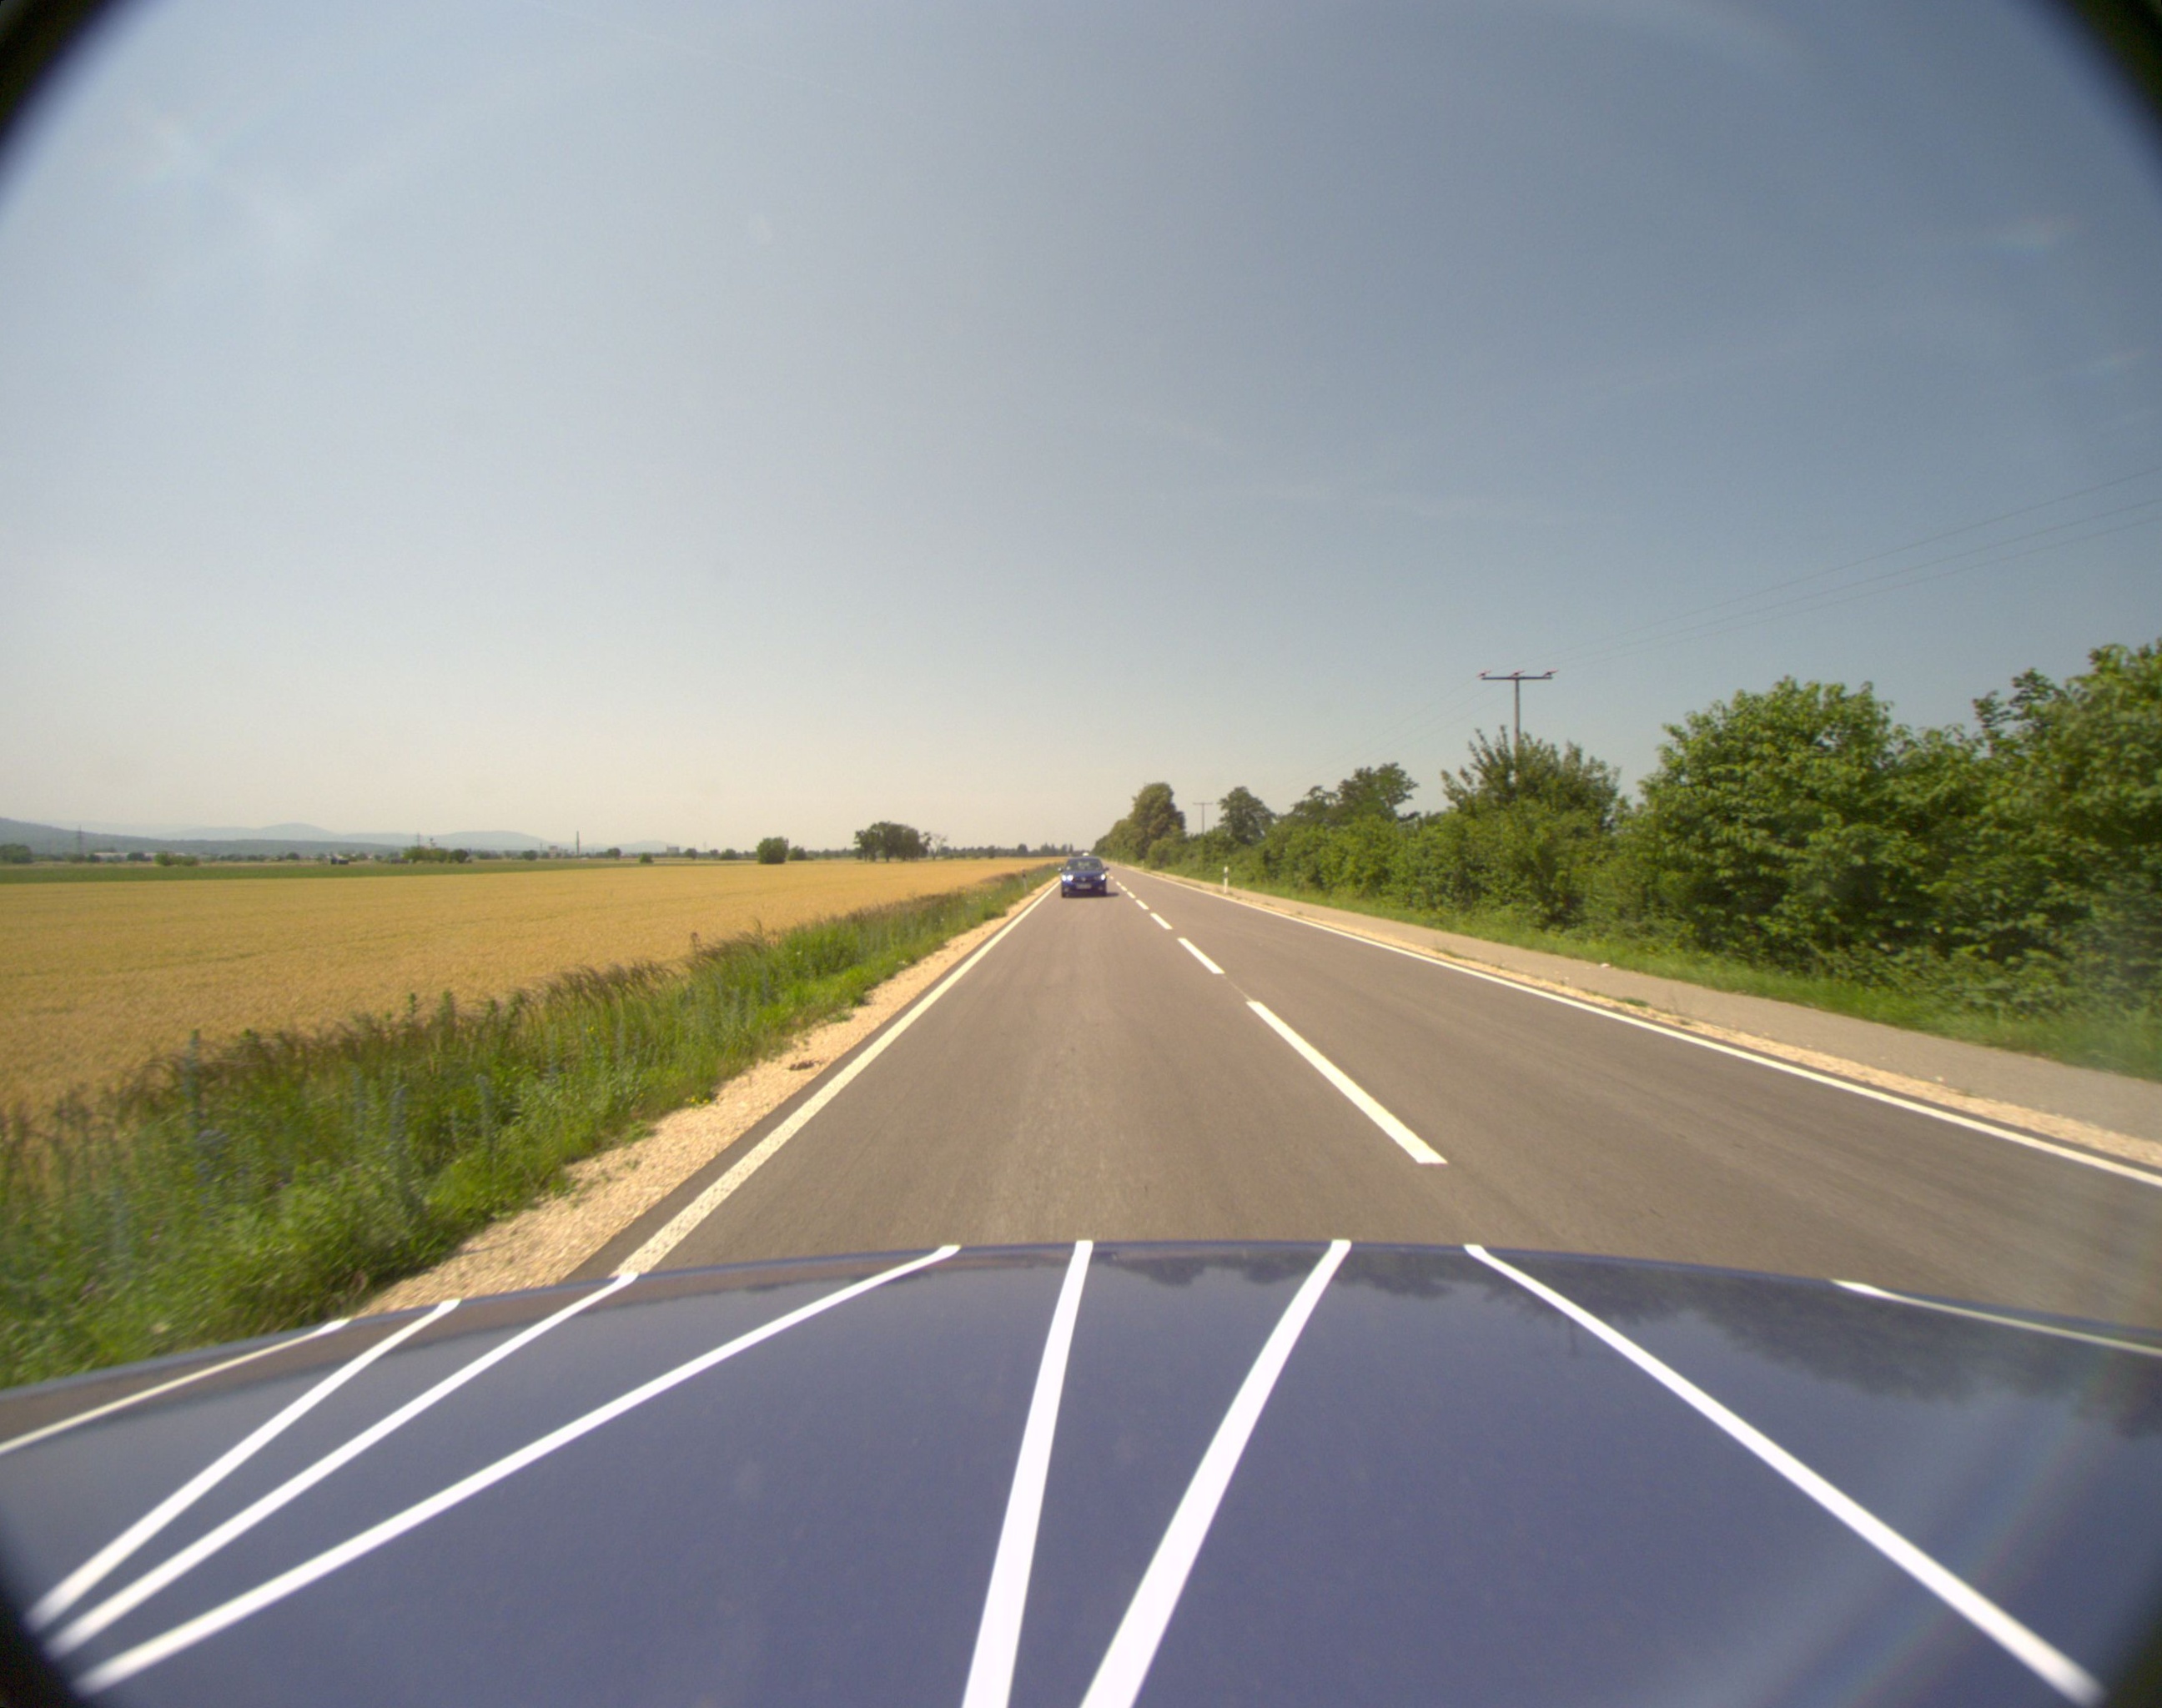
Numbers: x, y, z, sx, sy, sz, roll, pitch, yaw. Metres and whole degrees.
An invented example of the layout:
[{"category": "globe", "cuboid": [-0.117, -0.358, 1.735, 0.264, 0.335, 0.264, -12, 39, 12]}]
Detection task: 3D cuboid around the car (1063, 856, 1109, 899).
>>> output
[{"category": "car", "cuboid": [0.175, 0.855, 29.980, 1.662, 1.508, 4.000, -2, 0, 0]}]
